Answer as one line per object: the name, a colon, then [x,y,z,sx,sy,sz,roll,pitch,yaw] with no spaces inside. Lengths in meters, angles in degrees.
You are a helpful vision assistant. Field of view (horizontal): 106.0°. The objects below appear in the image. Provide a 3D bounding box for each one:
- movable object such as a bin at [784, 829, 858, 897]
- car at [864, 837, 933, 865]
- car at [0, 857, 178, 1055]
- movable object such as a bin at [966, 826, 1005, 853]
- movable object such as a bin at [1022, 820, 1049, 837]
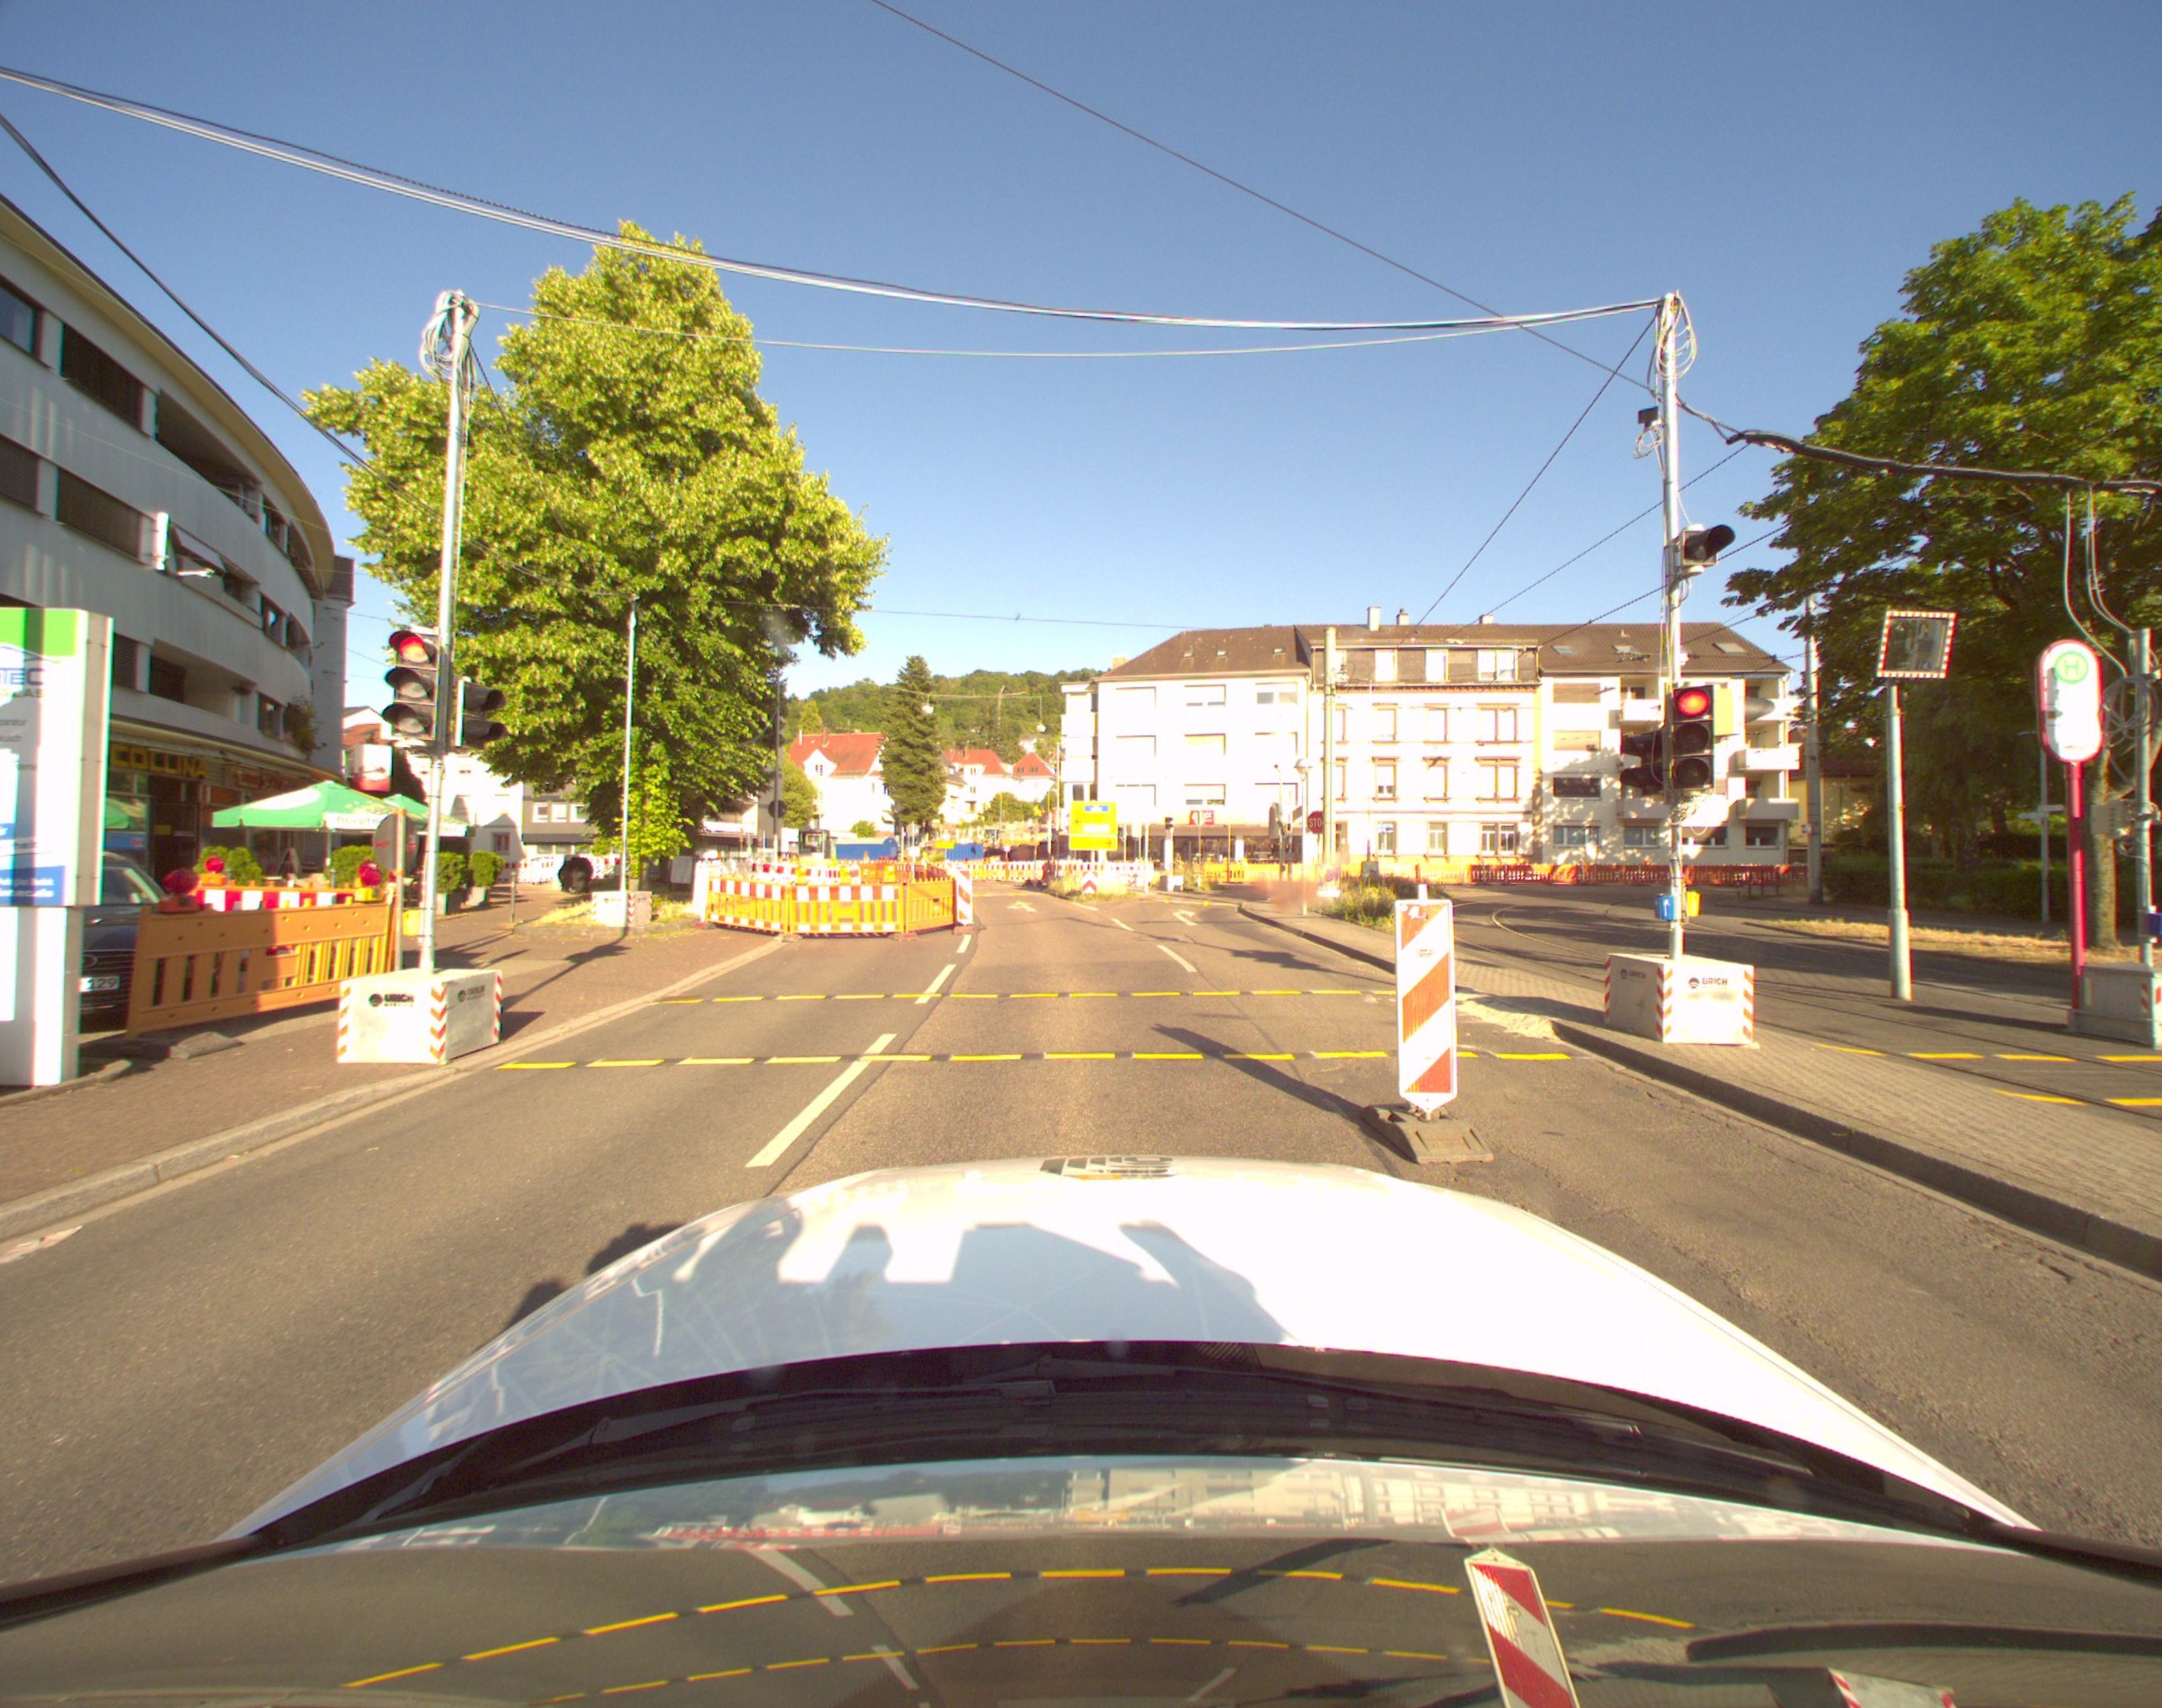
movable object such as a bin: [-9.453,0.302,29.869,1.643,2.324,3.916,0,0,-3]
car: [-14.840,-0.224,66.668,2.562,2.121,6.181,-1,-1,20]
car: [-9.322,0.779,7.307,3.835,1.438,1.606,-1,0,42]
movable object such as a bin: [-9.244,-1.343,79.391,1.932,2.494,4.574,-1,-1,20]
movable object such as a bin: [-6.422,-3.586,115.291,2.549,2.122,5.801,-1,-1,11]
